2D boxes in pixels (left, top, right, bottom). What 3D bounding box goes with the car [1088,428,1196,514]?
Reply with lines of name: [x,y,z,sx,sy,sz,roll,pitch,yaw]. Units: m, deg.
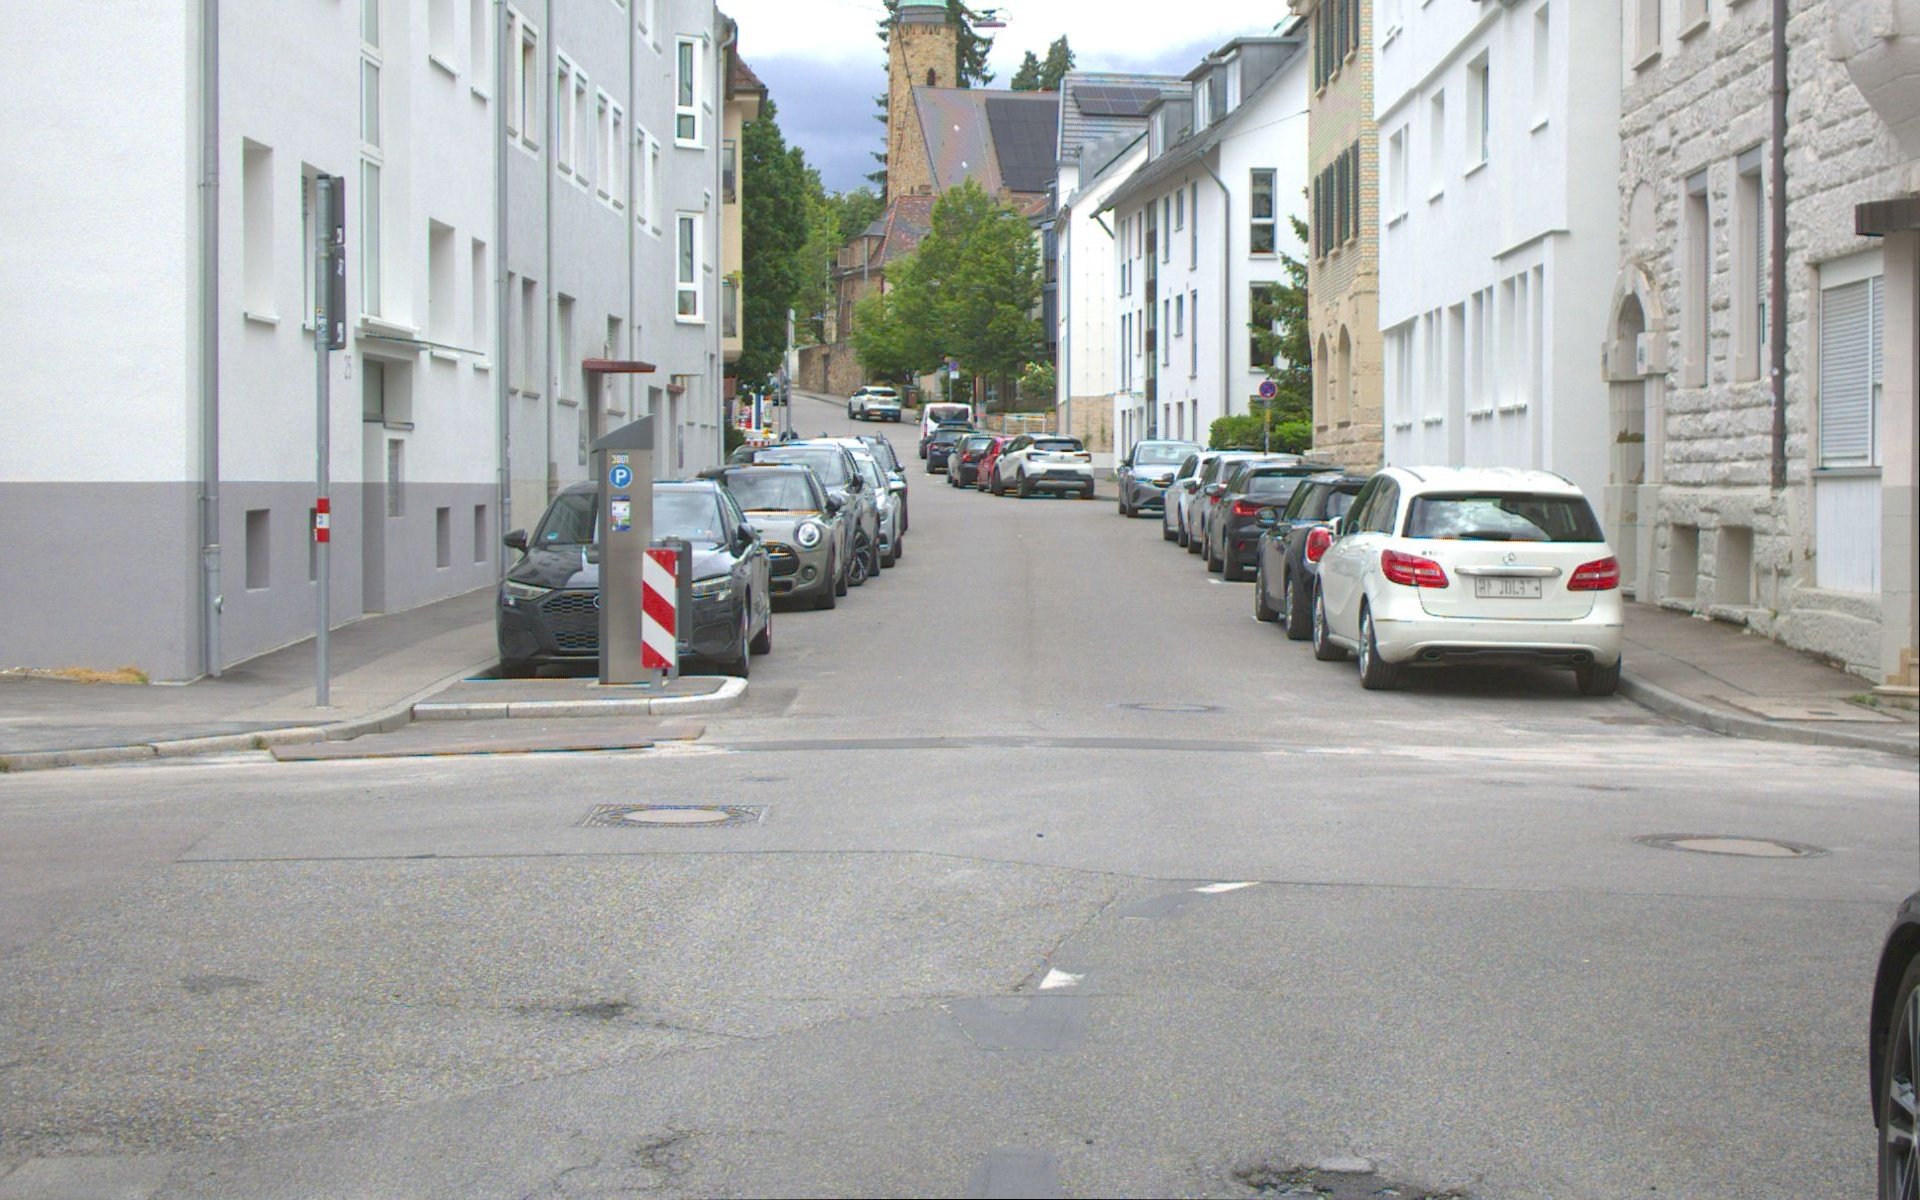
car: [3.386,-2.453,64.585,1.667,1.474,3.627,2,3,-2]

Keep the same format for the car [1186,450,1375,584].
car: [3.715,-1.014,40.448,1.667,1.380,4.028,2,3,-2]

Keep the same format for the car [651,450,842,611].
car: [-2.099,-0.743,34.638,1.730,1.484,3.720,-1,3,-1]

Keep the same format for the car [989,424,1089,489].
car: [1.884,-3.475,82.924,1.783,1.474,3.627,0,4,-9]

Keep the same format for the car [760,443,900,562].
car: [-1.657,-1.301,44.777,1.730,1.443,3.720,-1,3,-1]

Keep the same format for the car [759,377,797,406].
car: [-9.337,-10.708,176.337,1.667,1.474,3.627,0,4,-7]

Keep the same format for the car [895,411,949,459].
car: [-1.242,-5.338,110.920,1.667,1.474,3.627,1,4,-2]

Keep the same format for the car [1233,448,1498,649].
car: [3.479,-0.507,30.162,1.667,1.527,4.028,2,3,-2]

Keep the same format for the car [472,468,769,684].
car: [-2.422,-0.244,25.484,1.820,1.386,4.299,-1,3,-1]

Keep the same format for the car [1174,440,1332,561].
car: [3.928,-1.379,46.549,1.667,1.474,3.627,2,3,-2]

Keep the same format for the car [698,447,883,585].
car: [-1.903,-1.004,39.605,1.730,1.464,3.719,-1,3,3]

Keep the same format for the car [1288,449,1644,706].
car: [3.588,-0.234,25.082,1.820,1.593,4.028,2,3,-2]

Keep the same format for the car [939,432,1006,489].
car: [0.326,-3.836,94.031,1.667,1.474,3.627,1,4,-2]

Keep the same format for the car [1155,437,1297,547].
car: [3.935,-1.637,51.388,1.667,1.474,3.627,2,3,-2]

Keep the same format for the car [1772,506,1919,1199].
car: [2.679,0.658,5.114,1.817,1.538,4.028,2,1,-2]

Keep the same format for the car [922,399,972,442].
car: [-0.488,-6.396,122.610,1.667,1.474,3.627,1,4,-2]

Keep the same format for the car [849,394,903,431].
car: [-3.967,-8.798,161.521,2.181,1.687,3.627,0,4,-7]
